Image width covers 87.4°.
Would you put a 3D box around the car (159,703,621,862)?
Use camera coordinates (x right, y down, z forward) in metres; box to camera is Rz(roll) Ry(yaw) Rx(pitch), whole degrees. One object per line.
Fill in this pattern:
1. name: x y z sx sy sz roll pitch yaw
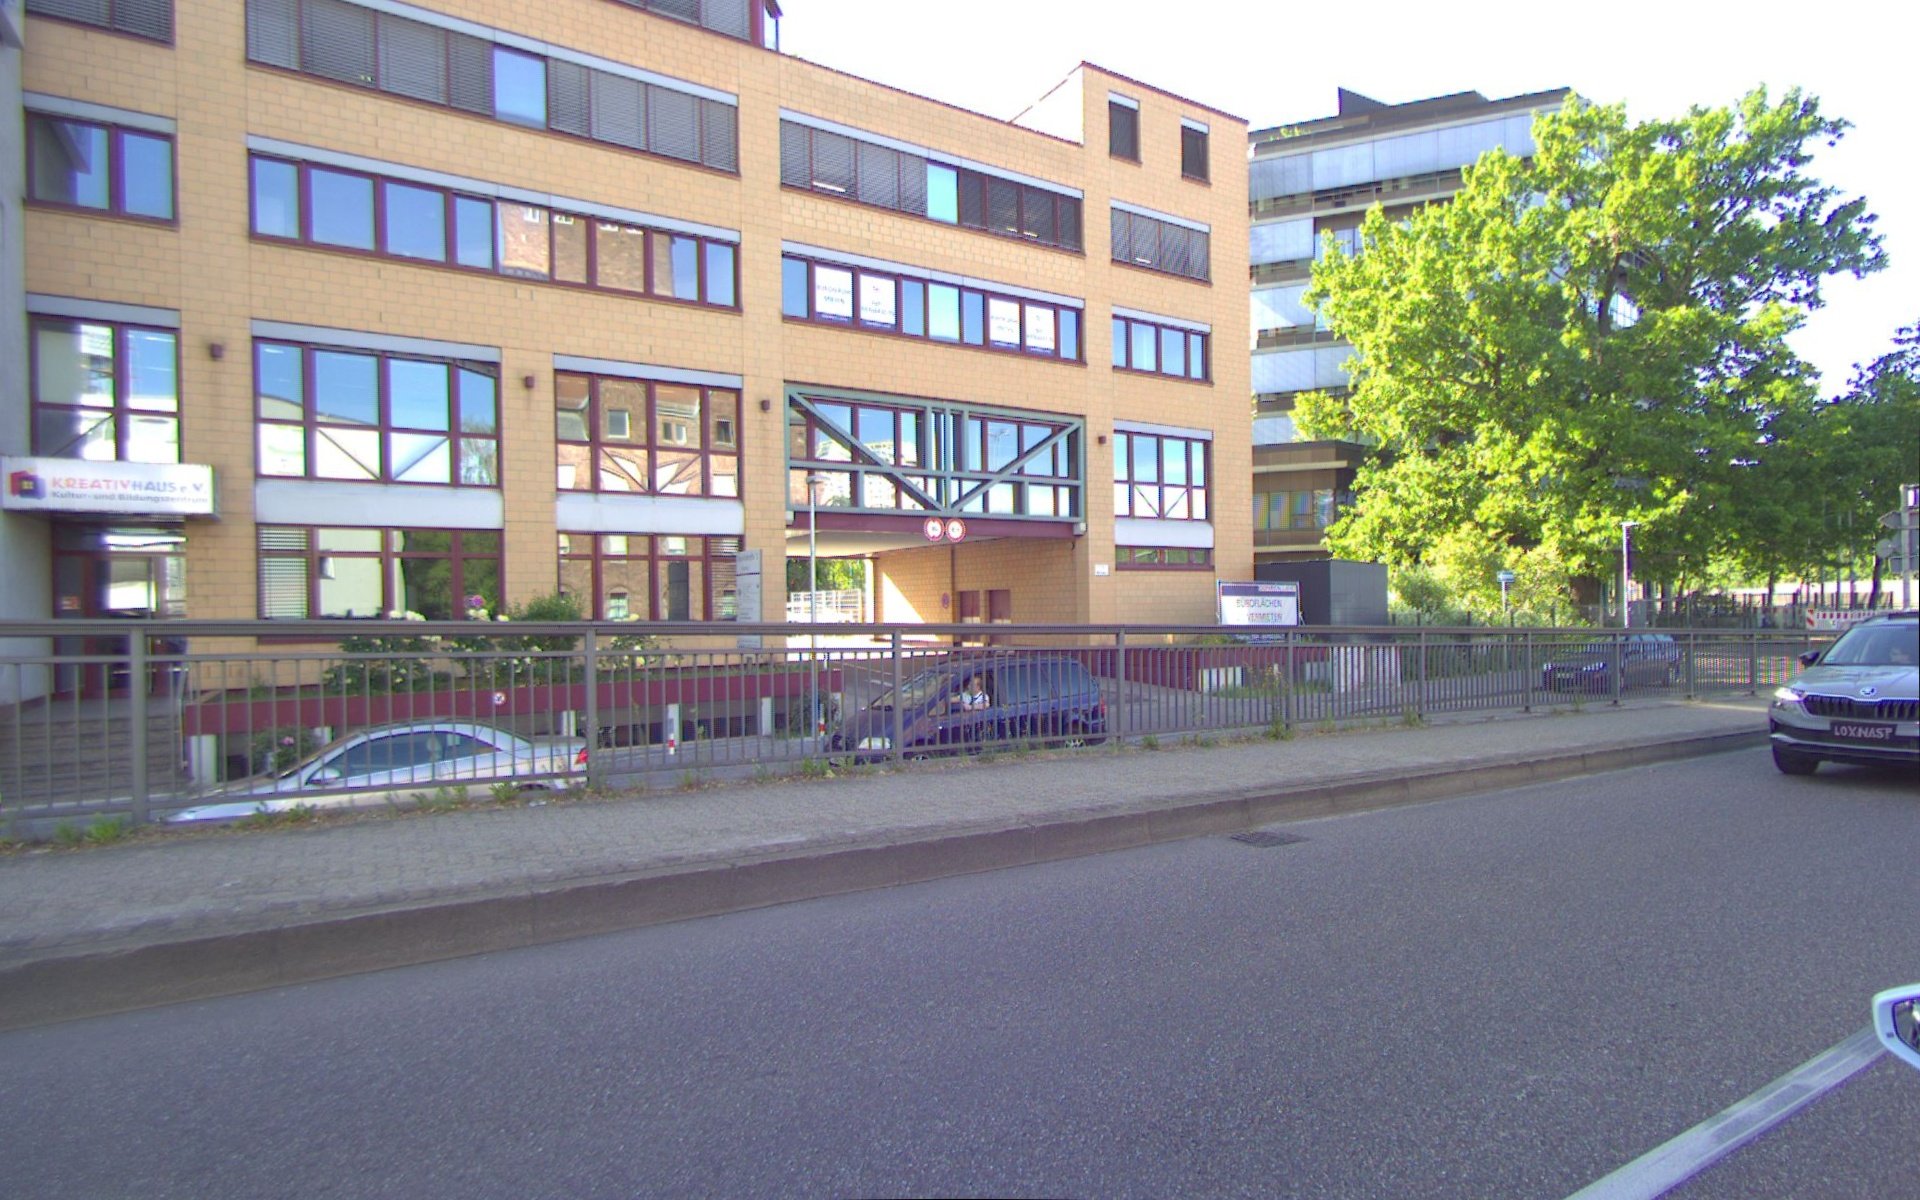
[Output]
1. car: -6.166 1.901 11.277 4.210 1.181 1.713 0 -2 -32

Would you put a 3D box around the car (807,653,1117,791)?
1. car: 0.126 1.704 15.153 4.541 1.669 1.710 0 -2 -36

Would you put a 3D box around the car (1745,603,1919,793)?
1. car: 9.780 0.876 10.066 3.956 1.645 1.794 1 -2 -32

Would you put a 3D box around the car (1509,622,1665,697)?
1. car: 16.401 1.490 26.249 3.953 1.715 1.843 -1 0 -30
